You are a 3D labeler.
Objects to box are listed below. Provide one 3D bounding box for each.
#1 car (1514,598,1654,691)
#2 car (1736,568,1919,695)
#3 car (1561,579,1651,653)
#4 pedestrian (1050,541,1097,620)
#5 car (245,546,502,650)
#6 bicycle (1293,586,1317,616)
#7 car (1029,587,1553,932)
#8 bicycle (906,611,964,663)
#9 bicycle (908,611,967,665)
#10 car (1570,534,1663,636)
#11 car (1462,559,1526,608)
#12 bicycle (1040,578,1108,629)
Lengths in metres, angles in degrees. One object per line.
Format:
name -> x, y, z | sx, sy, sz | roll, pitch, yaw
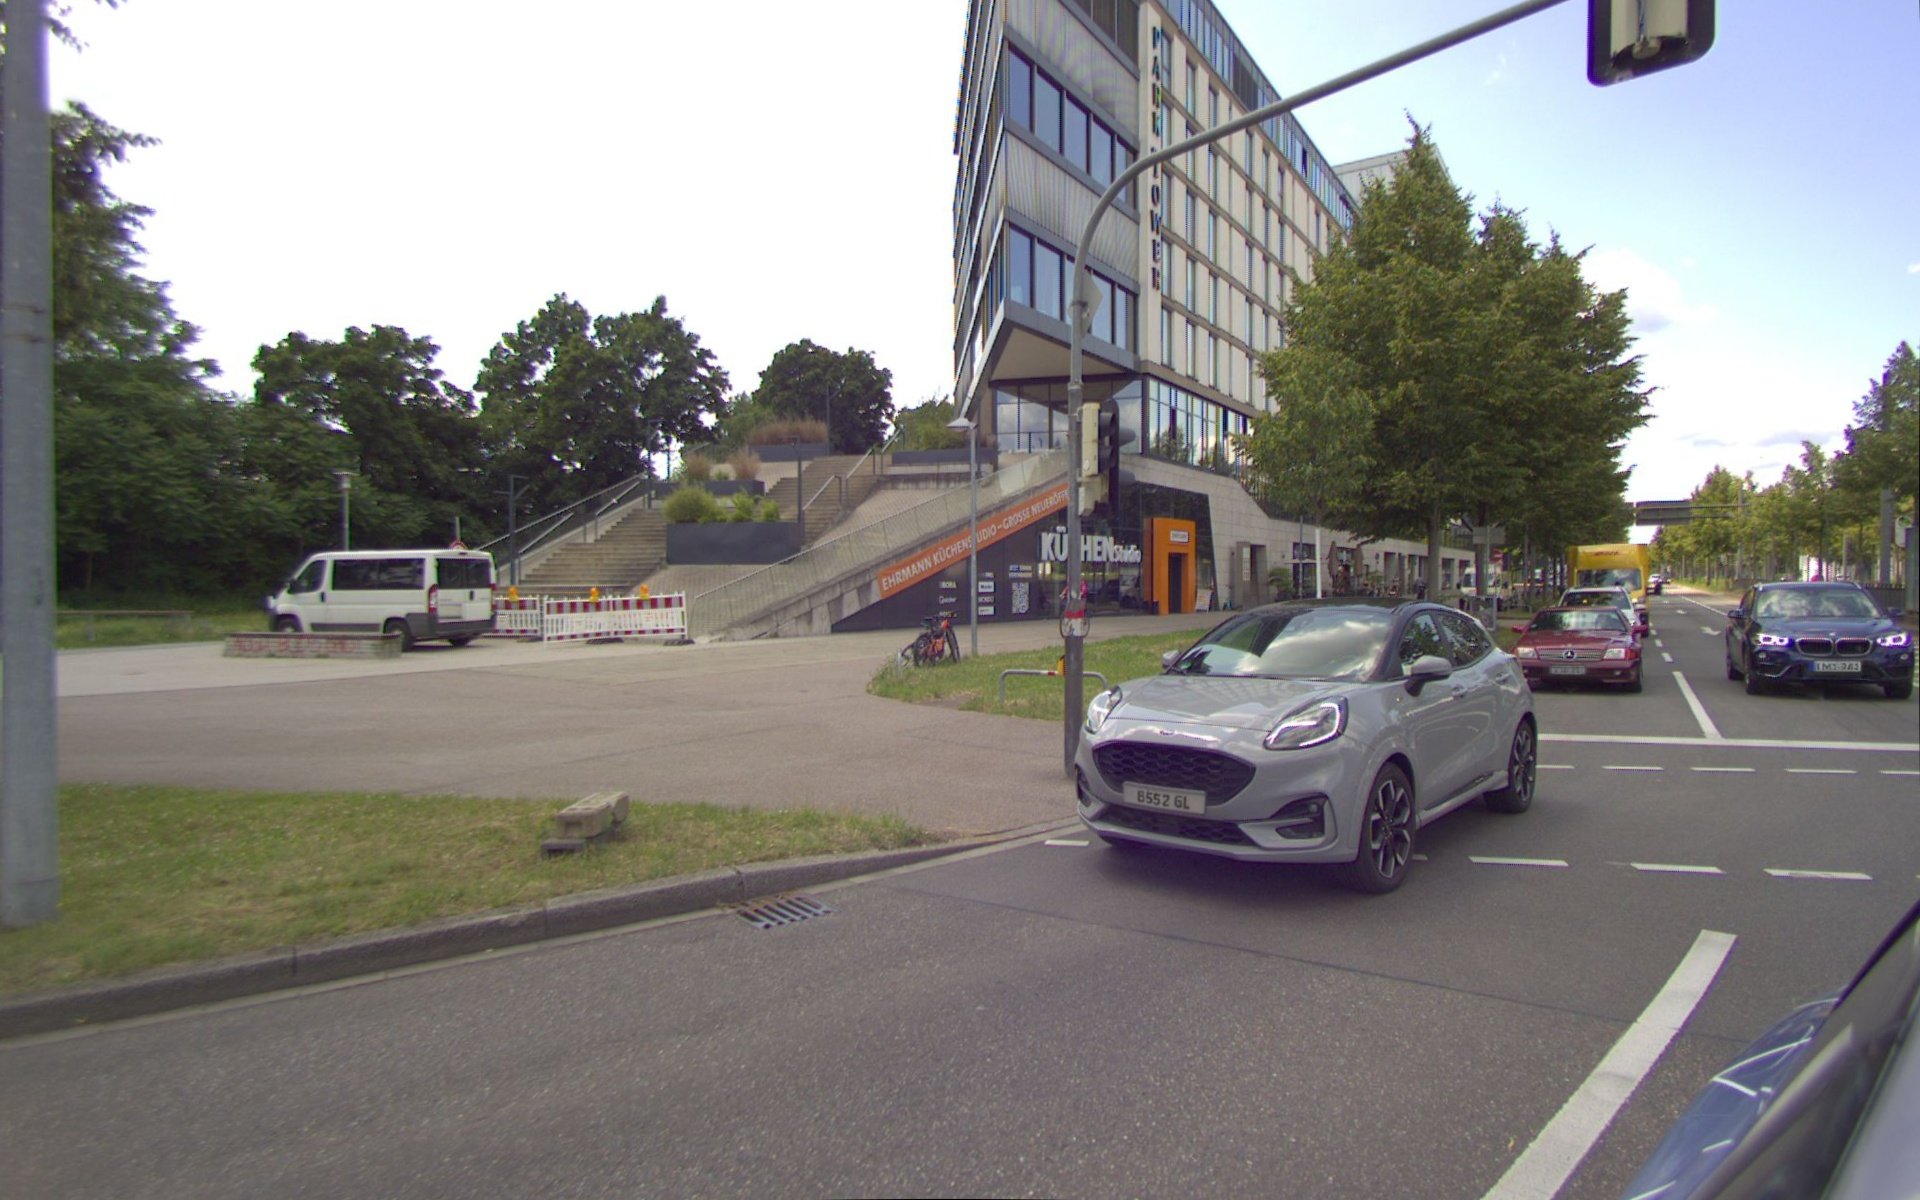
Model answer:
car -> 10.352, 0.638, 16.655 | 1.665, 1.277, 4.039 | -1, 0, 36
car -> 12.968, 0.378, 15.187 | 1.763, 1.619, 4.079 | -2, 0, 34
car -> 15.521, 0.347, 24.279 | 1.663, 1.619, 4.078 | -2, 0, 34
pedestrian -> 2.981, -0.503, 26.586 | 0.749, 2.039, 1.218 | -1, 0, 32
car -> -13.317, -0.045, 23.047 | 5.077, 2.175, 2.139 | 0, 0, 15
bicycle -> 13.009, 0.033, 38.137 | 0.512, 1.102, 1.730 | 1, 1, 30
car -> 2.378, 0.692, 6.571 | 1.669, 1.489, 4.028 | 0, 1, 44
bicycle -> -0.418, 0.634, 17.778 | 0.355, 0.836, 1.459 | 0, 0, 28
bicycle -> -0.372, 0.632, 17.320 | 0.355, 0.836, 1.459 | 0, 0, 28
car -> 21.043, -0.487, 32.477 | 2.269, 2.889, 7.170 | 0, 1, 33
car -> 28.314, -0.880, 53.566 | 2.149, 2.424, 6.198 | -2, 0, 36
bicycle -> 3.016, 0.068, 26.607 | 0.806, 1.259, 2.384 | 2, 2, 32
